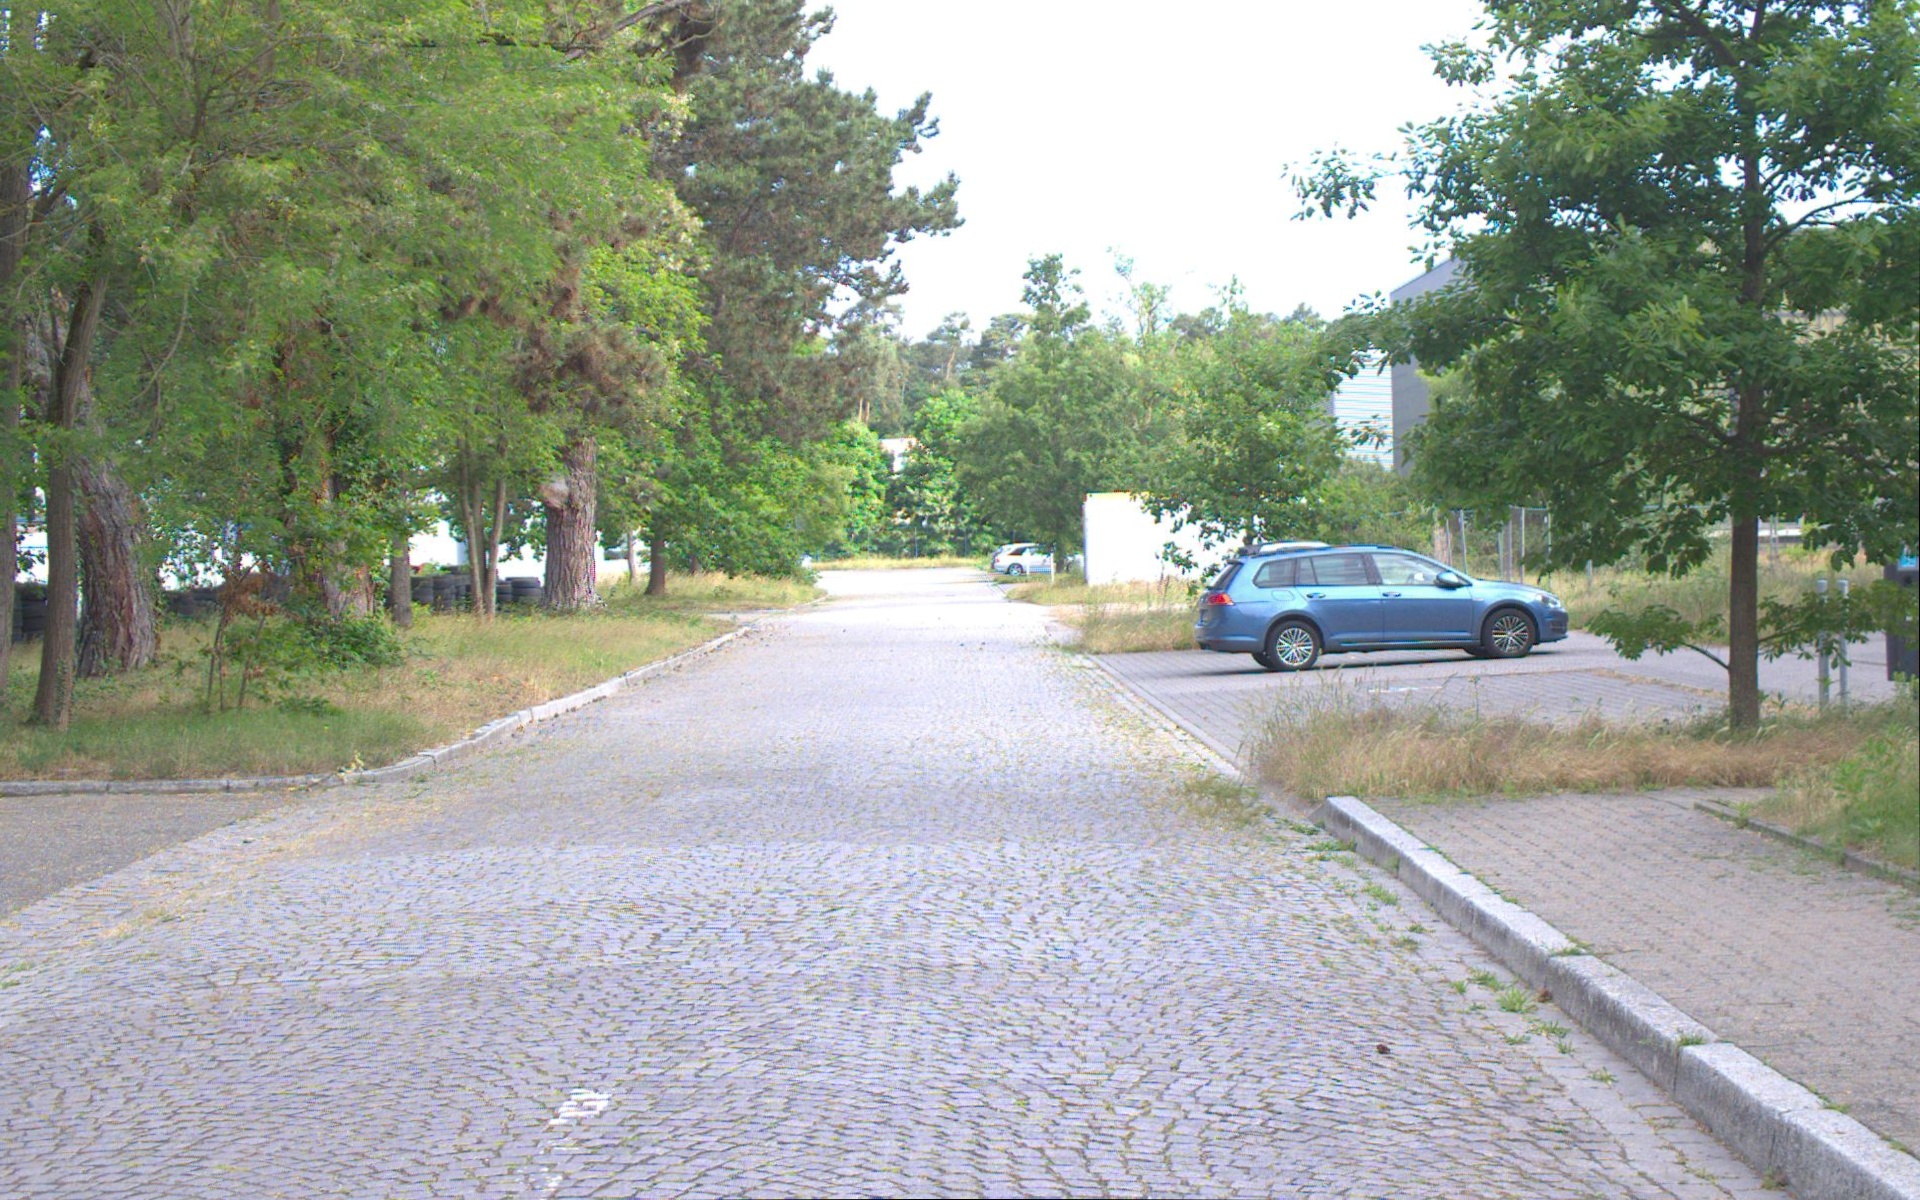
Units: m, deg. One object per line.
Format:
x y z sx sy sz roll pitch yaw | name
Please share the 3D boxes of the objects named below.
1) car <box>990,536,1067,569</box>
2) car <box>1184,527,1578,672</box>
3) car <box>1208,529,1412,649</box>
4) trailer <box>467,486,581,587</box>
3.165 -2.217 159.437 3.522 1.357 1.622 -3 1 1 | car
5.140 -0.025 42.338 4.490 1.470 1.831 -3 1 -3 | car
5.030 -0.168 49.679 2.710 1.551 1.653 -3 1 1 | car
-16.337 -2.389 129.540 2.625 3.585 10.177 -1 1 2 | trailer
